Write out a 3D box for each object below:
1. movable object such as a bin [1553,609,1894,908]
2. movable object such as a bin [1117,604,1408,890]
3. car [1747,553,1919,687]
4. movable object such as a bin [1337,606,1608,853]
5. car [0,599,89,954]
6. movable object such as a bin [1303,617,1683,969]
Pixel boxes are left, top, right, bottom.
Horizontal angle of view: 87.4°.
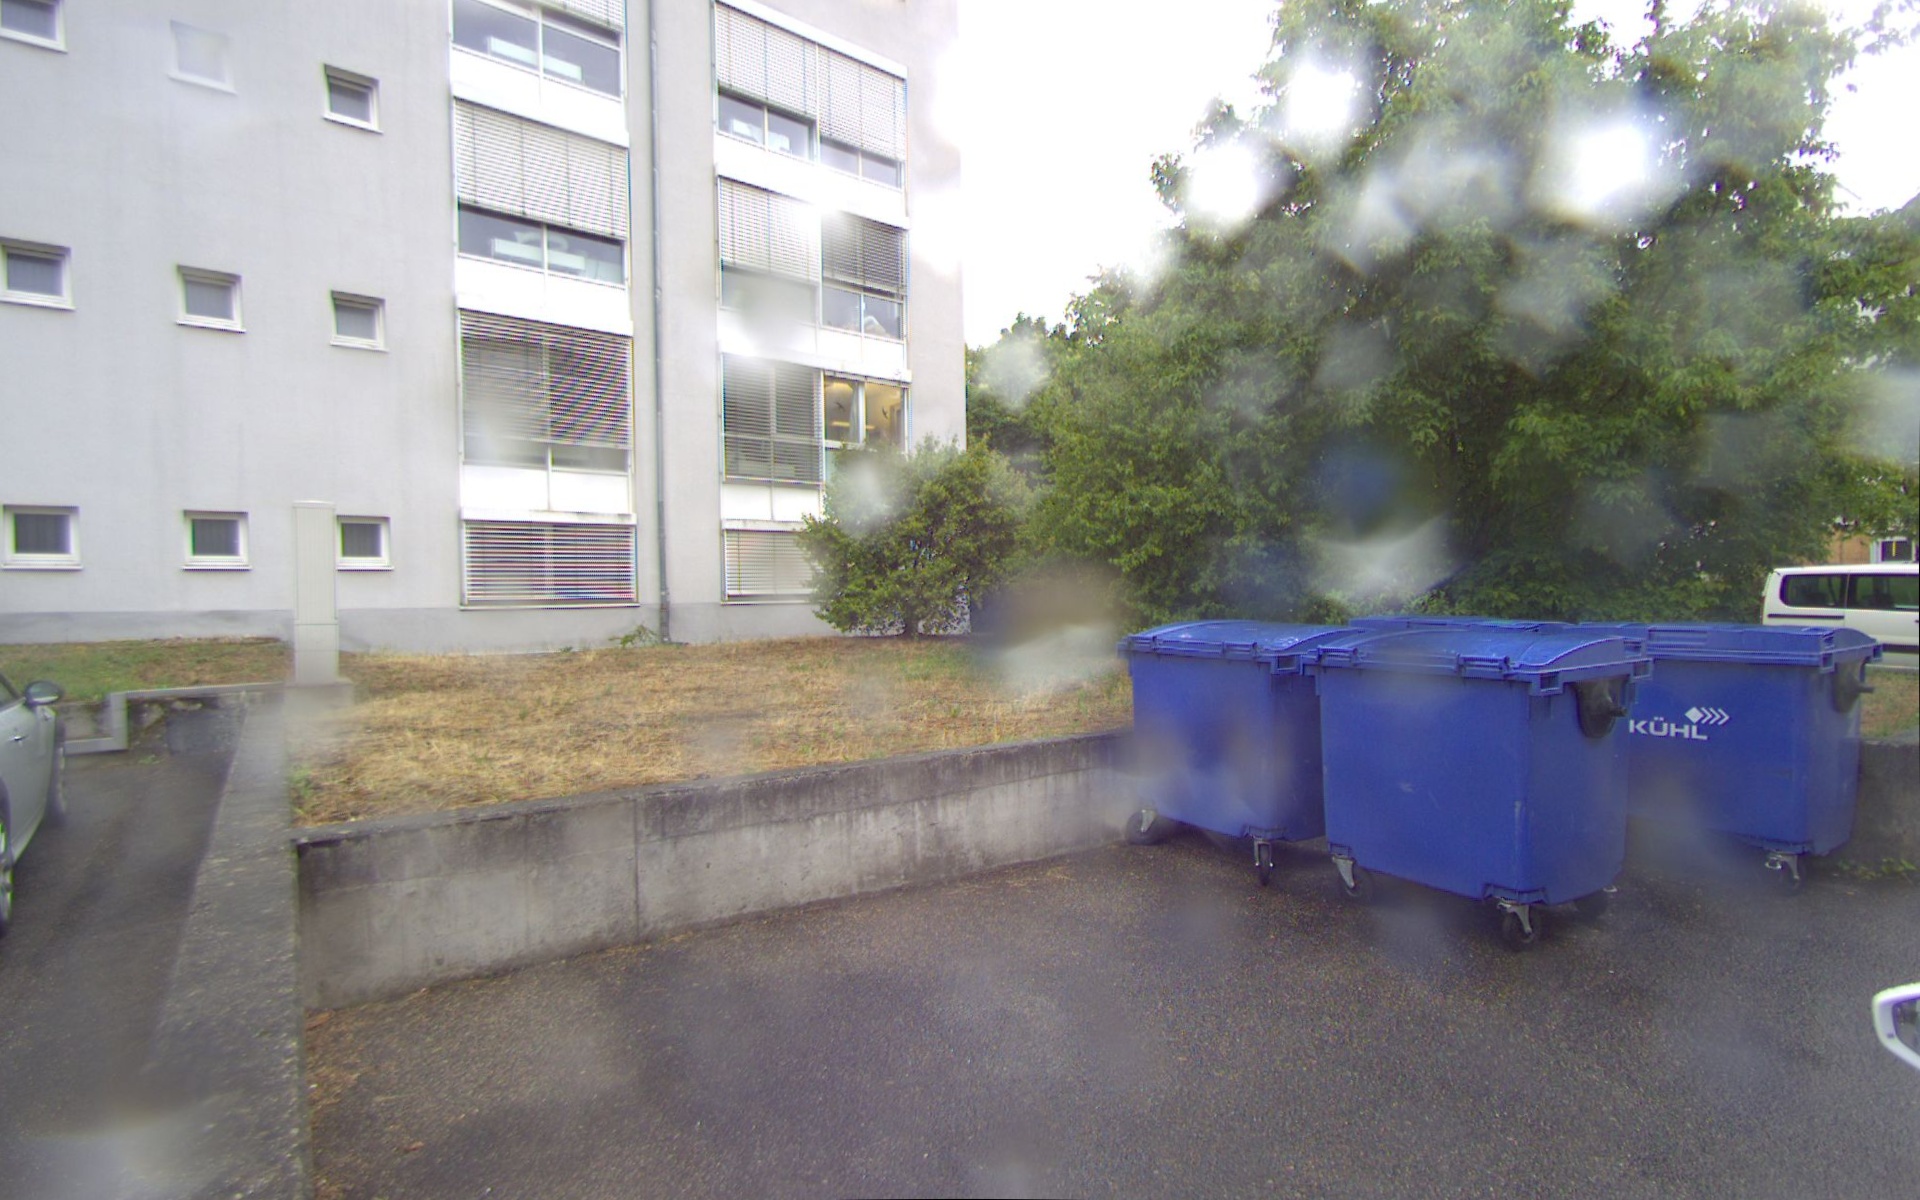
[{"bbox_3d":[4.092,0.740,5.432,0.996,1.355,1.214,-2,1,-33],"label":"movable object such as a bin"},{"bbox_3d":[1.736,0.743,5.840,1.105,1.355,1.195,-3,4,-34],"label":"movable object such as a bin"},{"bbox_3d":[15.516,0.279,15.642,1.978,2.040,4.753,-2,0,-33],"label":"car"},{"bbox_3d":[3.270,0.740,6.465,0.996,1.355,1.214,-3,1,-33],"label":"movable object such as a bin"},{"bbox_3d":[-6.022,0.776,5.340,1.805,1.351,4.133,-2,4,-37],"label":"car"},{"bbox_3d":[2.479,0.773,4.755,1.103,1.355,1.197,-1,0,-30],"label":"movable object such as a bin"}]
